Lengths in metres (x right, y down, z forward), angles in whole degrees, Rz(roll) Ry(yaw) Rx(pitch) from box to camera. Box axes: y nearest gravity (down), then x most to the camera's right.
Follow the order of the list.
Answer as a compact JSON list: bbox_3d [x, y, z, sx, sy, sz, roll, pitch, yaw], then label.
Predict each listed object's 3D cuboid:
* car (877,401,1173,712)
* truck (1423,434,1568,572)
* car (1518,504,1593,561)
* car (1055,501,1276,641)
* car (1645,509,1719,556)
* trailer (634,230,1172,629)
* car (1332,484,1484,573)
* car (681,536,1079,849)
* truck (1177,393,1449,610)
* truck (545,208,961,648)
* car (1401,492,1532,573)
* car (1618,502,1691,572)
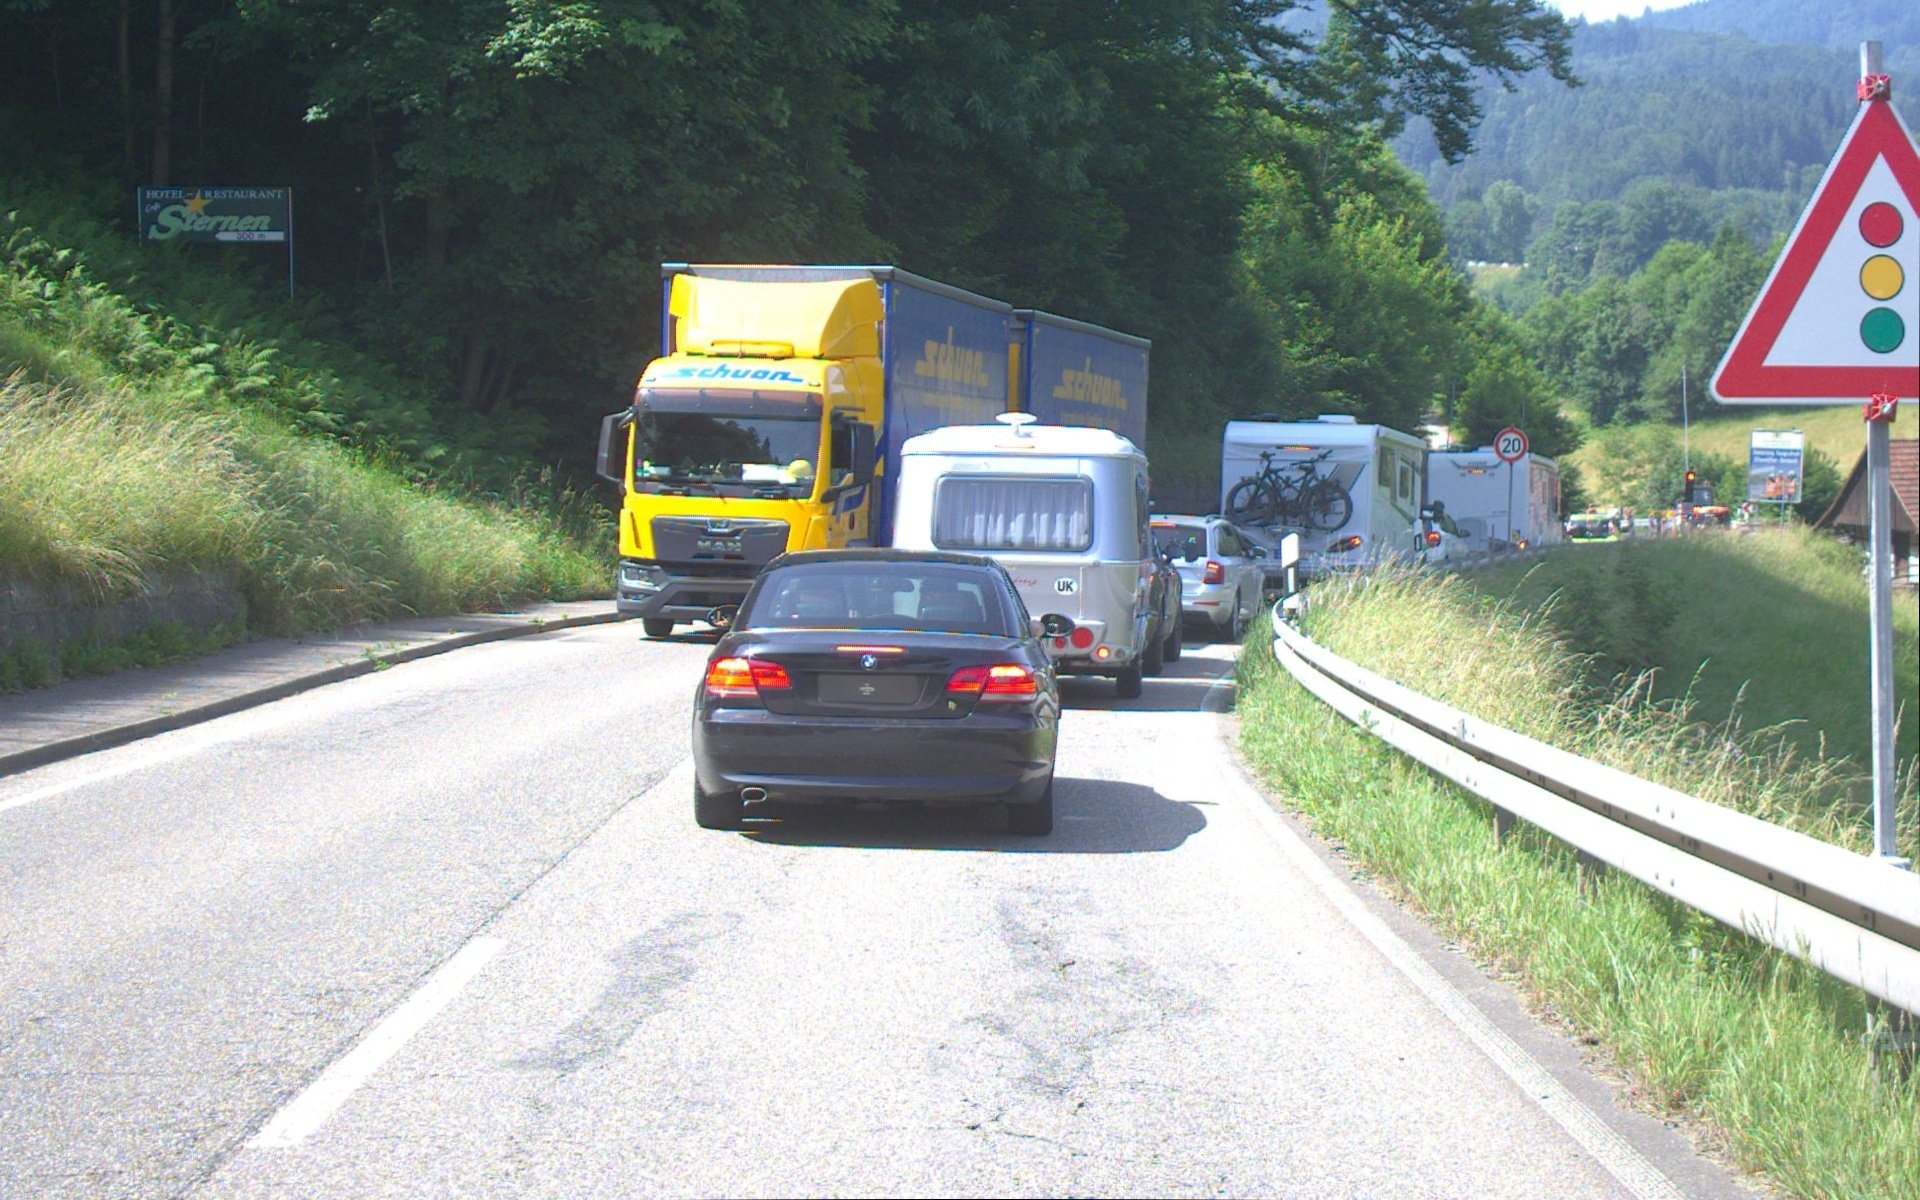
[{"bbox_3d":[0.645,-0.456,28.988,1.994,2.344,4.913,2,3,6],"label":"car"},{"bbox_3d":[11.758,-2.058,75.137,2.239,2.794,6.227,2,1,16],"label":"truck"},{"bbox_3d":[16.812,-1.894,96.962,1.907,1.481,3.998,2,1,12],"label":"car"},{"bbox_3d":[2.511,-0.383,41.110,1.995,1.479,3.998,3,2,12],"label":"car"},{"bbox_3d":[25.966,-2.415,123.531,1.996,1.570,3.996,2,1,20],"label":"car"},{"bbox_3d":[-0.225,-2.177,46.149,3.262,4.402,15.307,2,2,14],"label":"trailer"},{"bbox_3d":[8.242,-1.327,63.009,1.995,1.459,3.997,4,3,17],"label":"car"},{"bbox_3d":[-0.435,0.388,17.490,1.771,1.331,3.767,2,2,-2],"label":"car"},{"bbox_3d":[5.569,-1.536,53.117,2.793,2.987,6.863,4,3,16],"label":"truck"},{"bbox_3d":[-2.136,-1.902,38.426,3.189,4.381,6.570,3,3,9],"label":"truck"},{"bbox_3d":[10.114,-1.373,68.463,1.789,1.459,3.997,4,3,19],"label":"car"},{"bbox_3d":[21.522,-1.924,106.419,1.995,1.919,3.998,5,1,12],"label":"car"}]
